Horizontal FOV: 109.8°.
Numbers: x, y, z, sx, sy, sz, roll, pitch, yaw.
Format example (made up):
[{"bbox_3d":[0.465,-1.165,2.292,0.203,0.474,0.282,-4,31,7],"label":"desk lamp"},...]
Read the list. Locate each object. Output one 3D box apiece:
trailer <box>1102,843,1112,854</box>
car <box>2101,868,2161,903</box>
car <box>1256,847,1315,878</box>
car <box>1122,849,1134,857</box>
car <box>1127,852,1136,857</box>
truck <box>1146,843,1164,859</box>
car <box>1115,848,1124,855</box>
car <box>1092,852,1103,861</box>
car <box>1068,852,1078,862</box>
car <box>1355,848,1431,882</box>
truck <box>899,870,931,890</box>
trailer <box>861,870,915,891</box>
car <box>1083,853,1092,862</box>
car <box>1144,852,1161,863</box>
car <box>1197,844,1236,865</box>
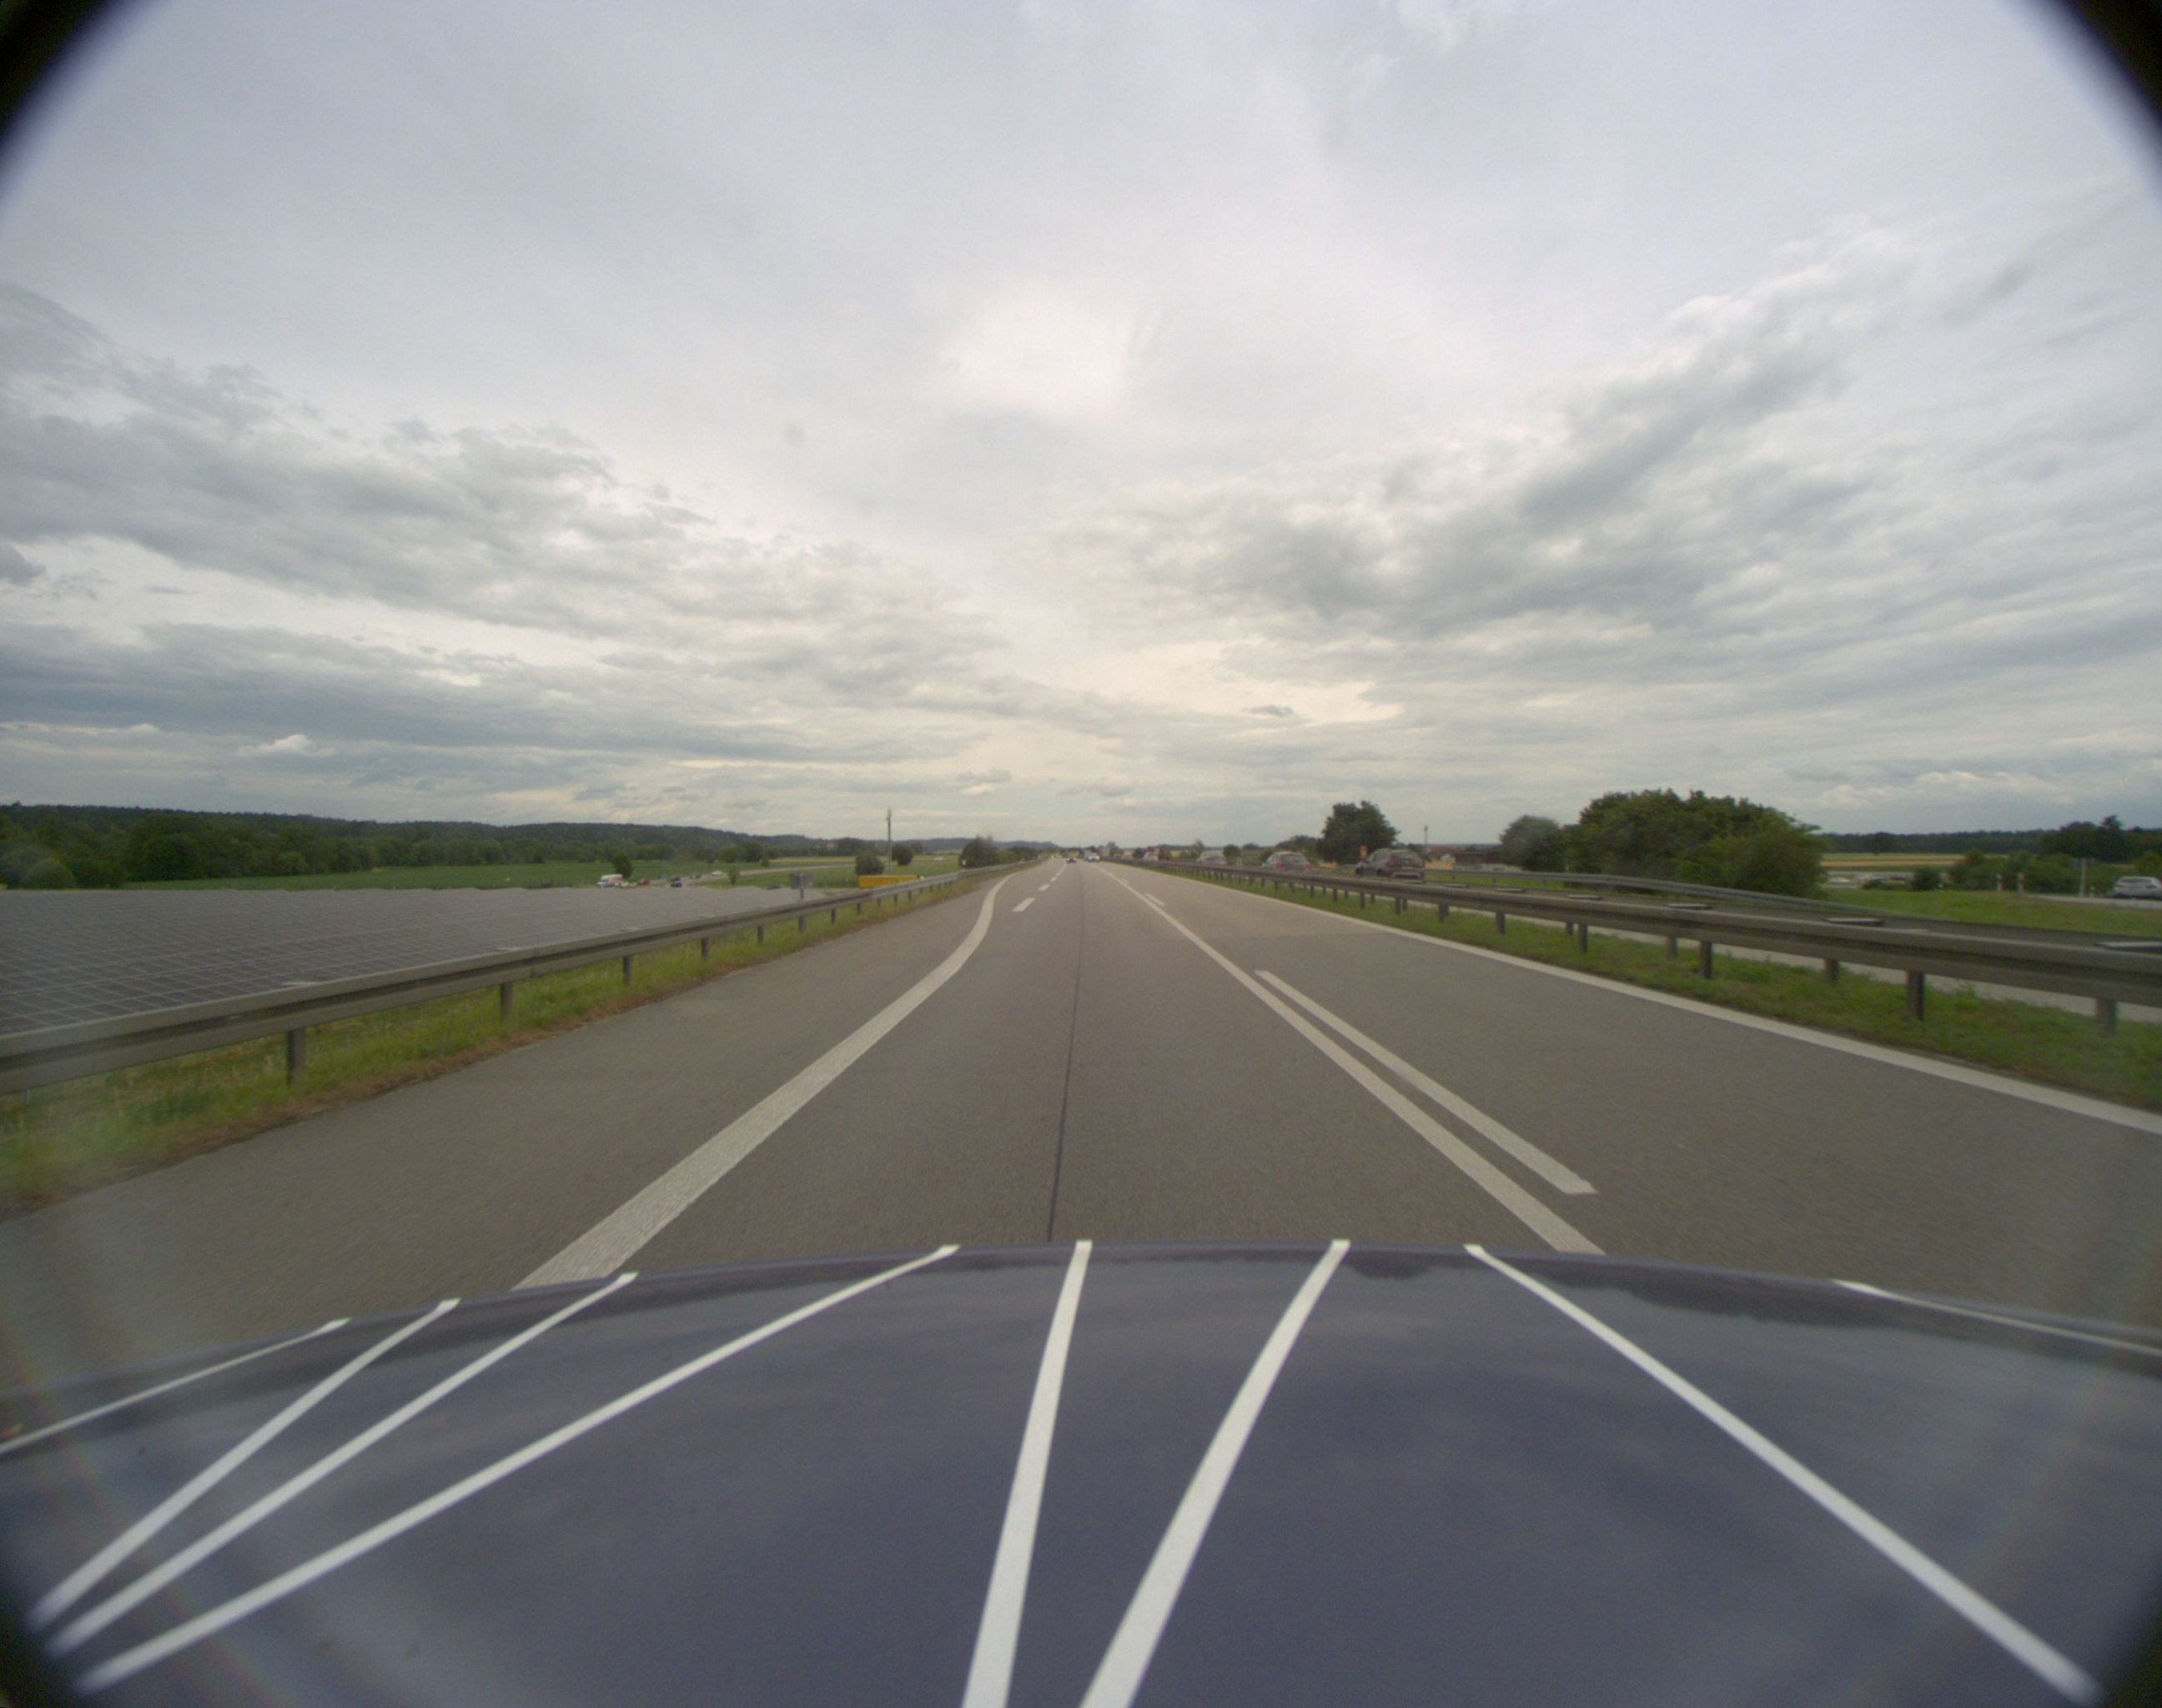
[{"bbox_3d":[9.179,-1.973,271.053,2.916,3.918,13.973,-2,1,-1],"label":"trailer"},{"bbox_3d":[67.288,1.971,48.639,4.006,2.002,1.995,-2,1,-31],"label":"car"},{"bbox_3d":[9.784,0.393,36.603,1.804,1.385,4.000,0,0,0],"label":"car"},{"bbox_3d":[9.202,-0.274,148.784,1.858,1.579,4.816,0,0,0],"label":"car"},{"bbox_3d":[12.381,0.085,185.727,1.830,1.338,4.783,0,0,0],"label":"car"},{"bbox_3d":[16.726,-0.705,171.948,2.675,3.516,11.075,1,1,-2],"label":"truck"},{"bbox_3d":[8.899,-0.587,177.458,1.896,1.579,4.761,0,0,0],"label":"car"},{"bbox_3d":[2.940,0.431,135.957,1.850,1.665,4.199,0,0,1],"label":"car"},{"bbox_3d":[-1.593,0.556,144.413,1.851,1.850,3.999,0,0,-1],"label":"car"},{"bbox_3d":[14.070,0.487,34.520,1.804,1.385,4.000,-2,0,0],"label":"car"},{"bbox_3d":[-40.405,6.291,184.821,7.138,4.759,3.018,-1,0,-4],"label":"truck"},{"bbox_3d":[-46.848,6.424,184.422,12.304,4.759,3.018,-1,0,-4],"label":"trailer"},{"bbox_3d":[1.548,0.837,176.418,1.998,2.002,4.000,-2,1,1],"label":"car"},{"bbox_3d":[10.096,0.483,106.927,1.896,1.579,4.761,0,0,0],"label":"car"},{"bbox_3d":[10.767,0.041,60.751,2.141,1.579,4.998,0,0,0],"label":"car"}]
